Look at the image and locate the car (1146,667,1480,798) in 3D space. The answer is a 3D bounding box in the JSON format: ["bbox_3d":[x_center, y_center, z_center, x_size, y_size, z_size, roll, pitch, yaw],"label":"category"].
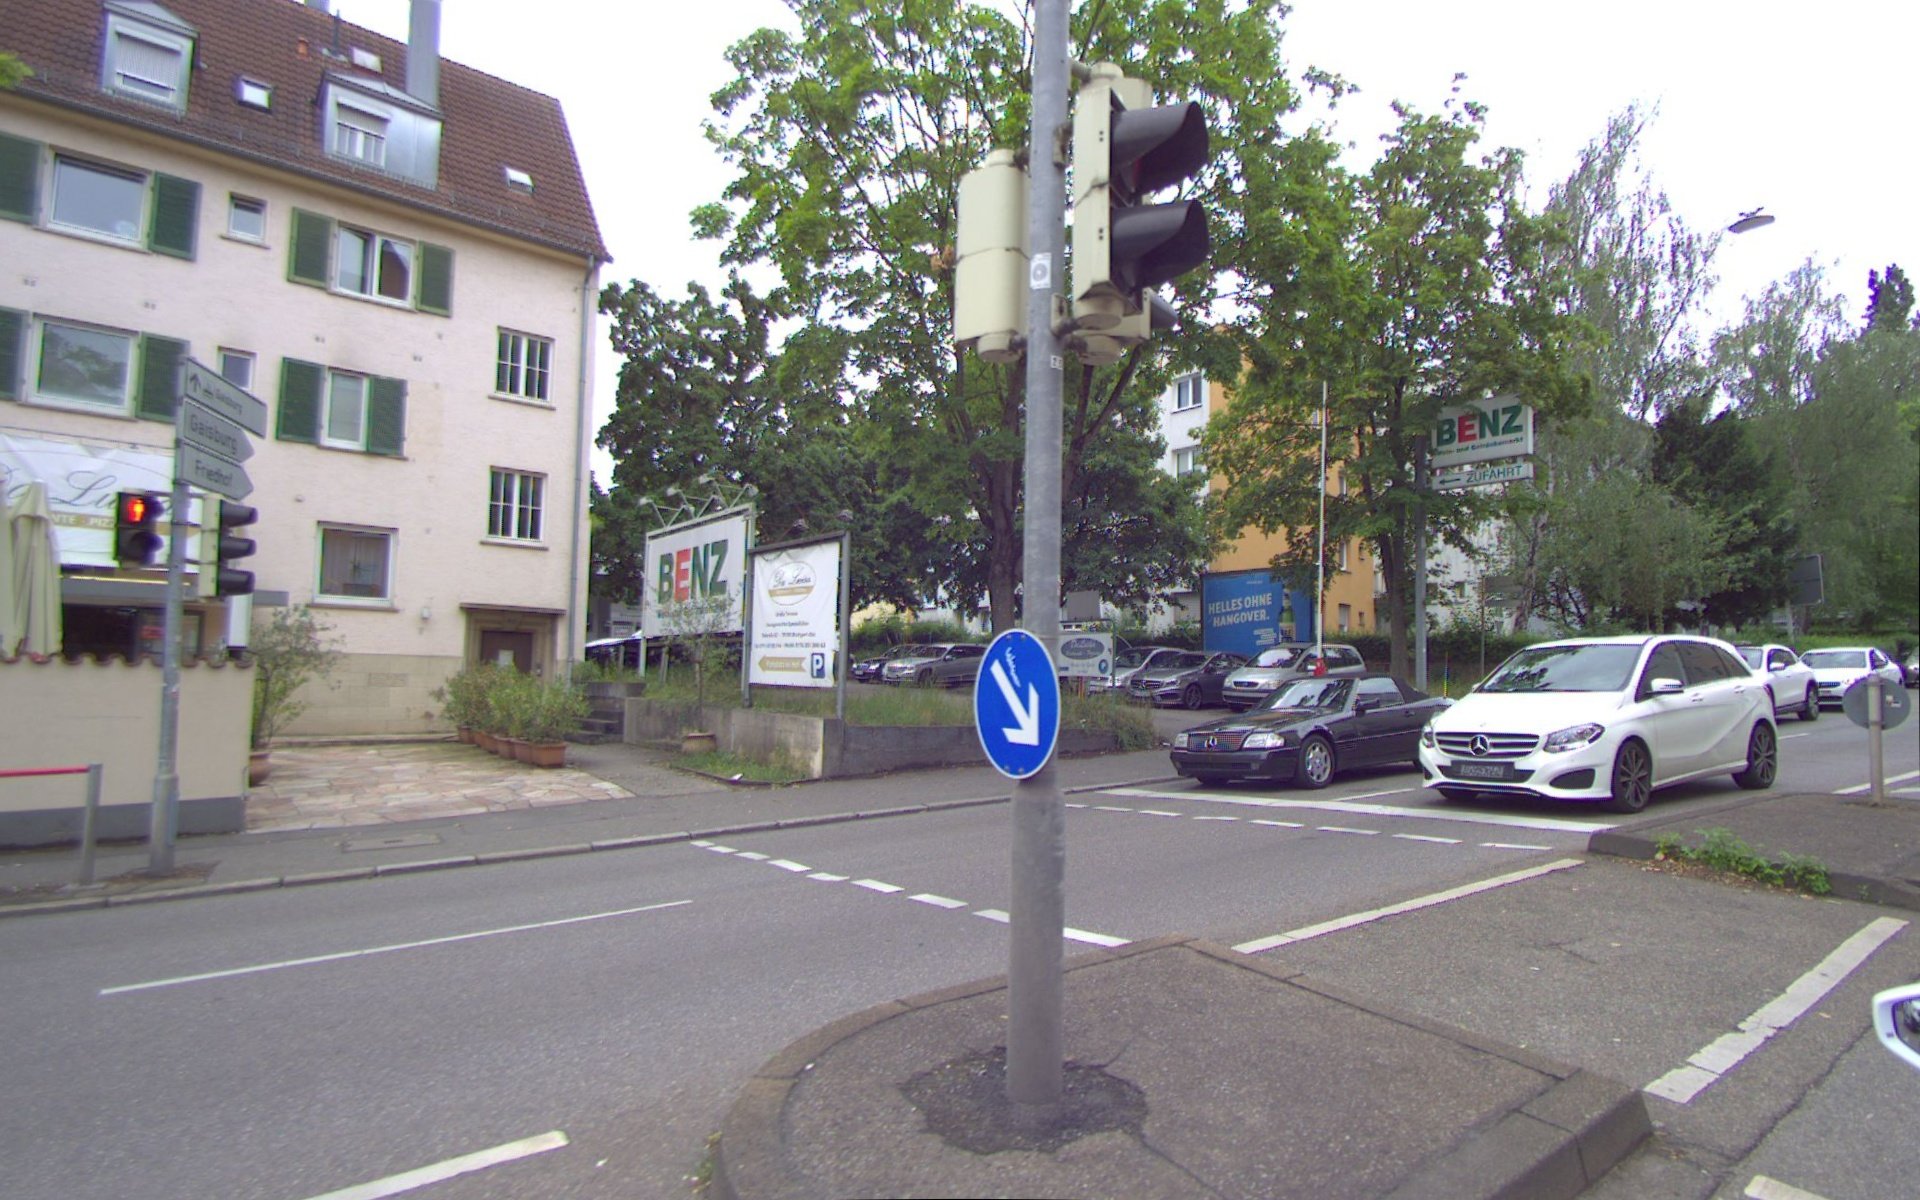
[{"bbox_3d":[4.567,1.607,12.832,4.191,1.297,1.793,0,-6,-33],"label":"car"}]

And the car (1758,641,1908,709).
[{"bbox_3d":[21.096,1.797,24.227,4.036,1.430,1.827,1,-6,-37],"label":"car"}]

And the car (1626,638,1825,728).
[{"bbox_3d":[15.834,1.680,20.724,4.454,1.613,1.940,1,-6,-36],"label":"car"}]

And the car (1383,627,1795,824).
[{"bbox_3d":[6.407,1.122,10.124,4.277,1.566,1.767,0,-5,-32],"label":"car"}]

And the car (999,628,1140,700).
[{"bbox_3d":[3.244,1.808,29.409,3.962,1.927,1.811,1,-1,-37],"label":"car"}]

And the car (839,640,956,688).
[{"bbox_3d":[-2.237,2.290,36.586,3.897,1.630,1.902,1,-2,-39],"label":"car"}]

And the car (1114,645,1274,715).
[{"bbox_3d":[5.920,1.950,25.294,3.958,1.521,1.697,1,-1,-34],"label":"car"}]

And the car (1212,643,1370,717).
[{"bbox_3d":[7.911,1.837,23.858,3.965,1.521,1.694,1,-1,-39],"label":"car"}]

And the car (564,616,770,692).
[{"bbox_3d":[-7.637,1.379,26.499,4.873,1.827,2.041,1,-3,-43],"label":"car"}]

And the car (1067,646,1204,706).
[{"bbox_3d":[4.910,2.041,27.769,3.972,1.429,1.691,1,-1,-43],"label":"car"}]

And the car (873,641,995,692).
[{"bbox_3d":[-0.876,2.255,34.698,3.897,1.630,1.902,1,-2,-39],"label":"car"}]

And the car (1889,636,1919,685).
[{"bbox_3d":[30.963,1.843,31.583,4.272,1.466,1.826,1,-5,-38],"label":"car"}]

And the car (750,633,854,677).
[{"bbox_3d":[-6.580,2.264,41.984,3.897,1.695,1.902,1,-2,-39],"label":"car"}]
